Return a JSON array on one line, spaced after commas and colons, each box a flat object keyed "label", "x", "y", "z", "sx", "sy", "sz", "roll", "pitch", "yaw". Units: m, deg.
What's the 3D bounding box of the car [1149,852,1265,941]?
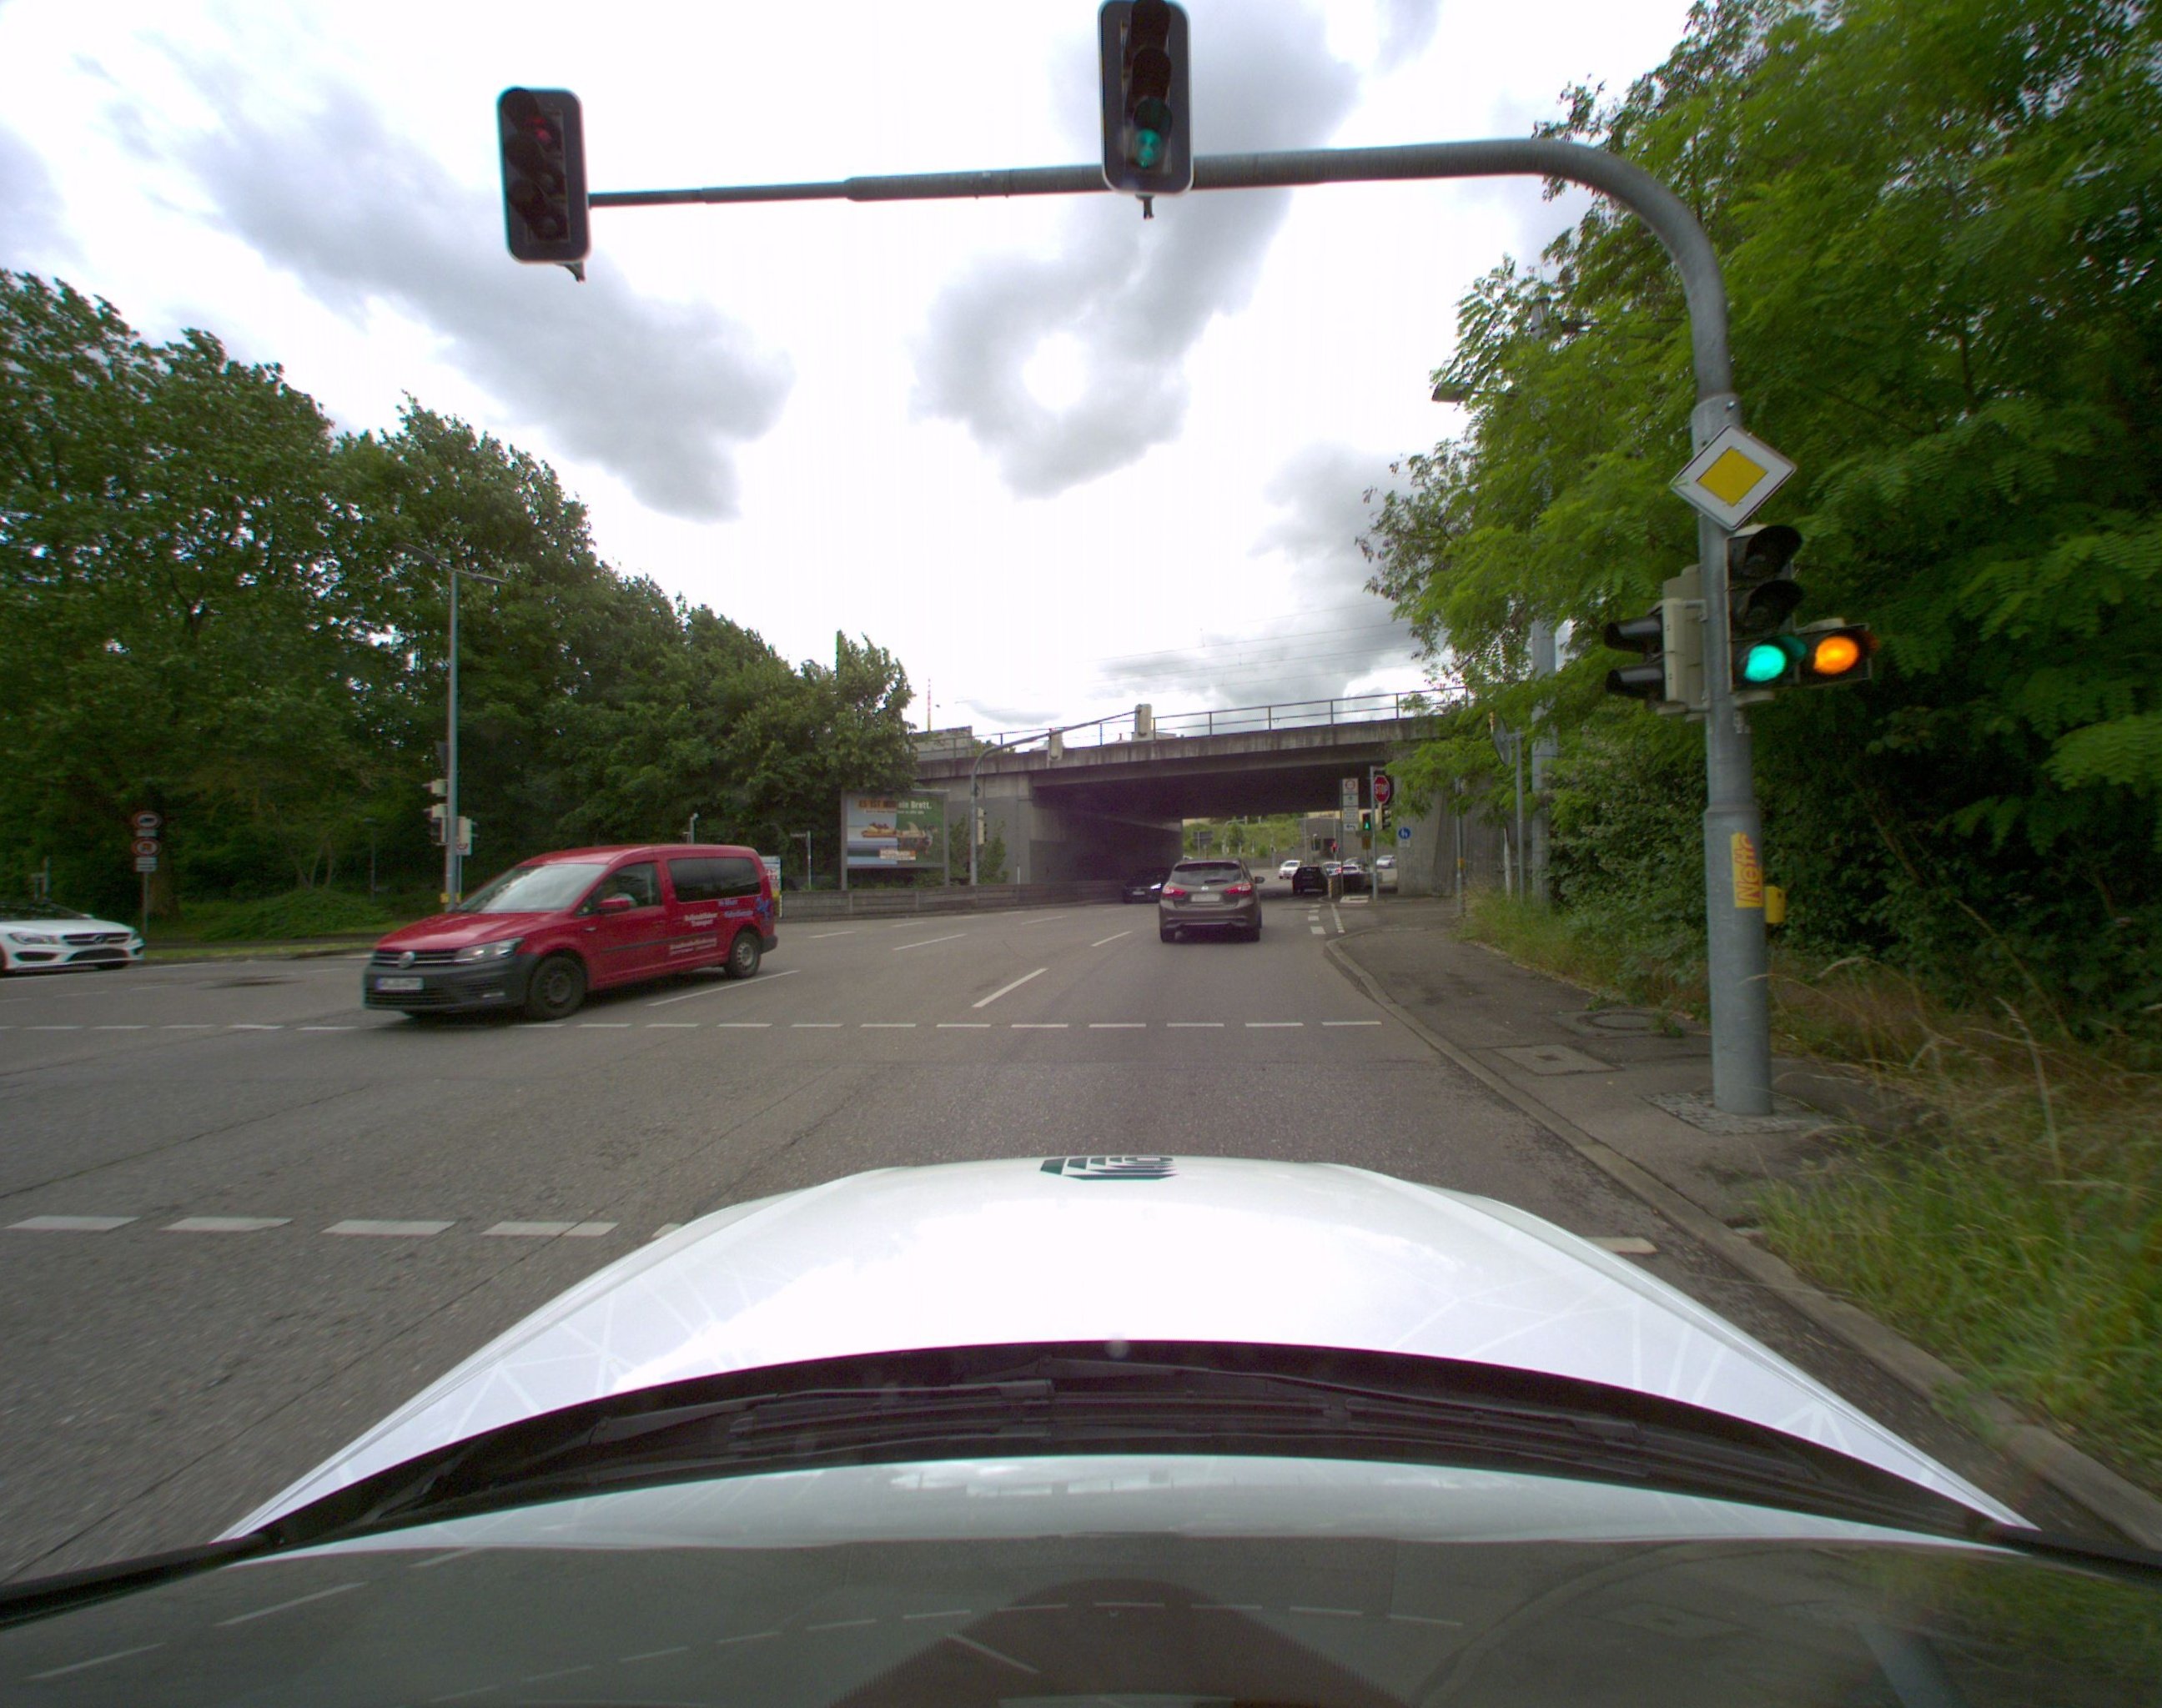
[{"label": "car", "x": 2.569, "y": 0.765, "z": 15.818, "sx": 1.831, "sy": 1.493, "sz": 4.015, "roll": -1, "pitch": -1, "yaw": 14}]

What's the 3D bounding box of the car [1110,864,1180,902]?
[{"label": "car", "x": 2.723, "y": 1.160, "z": 33.765, "sx": 1.801, "sy": 1.477, "sz": 4.157, "roll": -1, "pitch": -1, "yaw": 20}]

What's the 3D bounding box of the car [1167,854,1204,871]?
[{"label": "car", "x": 12.444, "y": 1.015, "z": 96.895, "sx": 3.953, "sy": 1.948, "sz": 2.010, "roll": -1, "pitch": -1, "yaw": 20}]

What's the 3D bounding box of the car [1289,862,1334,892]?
[{"label": "car", "x": 12.410, "y": 1.192, "z": 43.692, "sx": 1.883, "sy": 1.466, "sz": 4.021, "roll": -2, "pitch": -1, "yaw": 22}]

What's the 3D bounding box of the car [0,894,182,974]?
[{"label": "car", "x": -19.818, "y": 1.464, "z": 15.041, "sx": 4.384, "sy": 1.339, "sz": 2.002, "roll": -1, "pitch": -3, "yaw": 5}]

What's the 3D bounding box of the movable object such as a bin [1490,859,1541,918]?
[{"label": "movable object such as a bin", "x": 8.439, "y": 0.655, "z": 15.823, "sx": 0.576, "sy": 1.115, "sz": 0.639, "roll": -1, "pitch": -1, "yaw": -26}]

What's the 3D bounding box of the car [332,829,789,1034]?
[{"label": "car", "x": -5.648, "y": 0.708, "z": 9.757, "sx": 1.676, "sy": 1.825, "sz": 4.743, "roll": -1, "pitch": 0, "yaw": 13}]

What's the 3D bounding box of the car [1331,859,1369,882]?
[{"label": "car", "x": 19.721, "y": 1.201, "z": 59.706, "sx": 1.975, "sy": 1.618, "sz": 4.024, "roll": -2, "pitch": -1, "yaw": 28}]

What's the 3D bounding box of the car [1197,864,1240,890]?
[{"label": "car", "x": 8.117, "y": 1.333, "z": 47.794, "sx": 1.708, "sy": 1.410, "sz": 4.020, "roll": -2, "pitch": -2, "yaw": 21}]

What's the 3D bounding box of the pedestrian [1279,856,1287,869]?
[{"label": "pedestrian", "x": 25.479, "y": 1.125, "z": 102.808, "sx": 0.946, "sy": 1.613, "sz": 0.702, "roll": -1, "pitch": -1, "yaw": 13}]

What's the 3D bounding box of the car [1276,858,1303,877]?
[{"label": "car", "x": 18.968, "y": 1.209, "z": 73.955, "sx": 1.767, "sy": 1.660, "sz": 4.131, "roll": -1, "pitch": -1, "yaw": 23}]

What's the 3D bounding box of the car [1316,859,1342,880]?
[{"label": "car", "x": 20.557, "y": 1.233, "z": 67.367, "sx": 1.814, "sy": 1.706, "sz": 3.888, "roll": 0, "pitch": 0, "yaw": 20}]

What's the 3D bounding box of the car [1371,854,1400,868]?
[{"label": "car", "x": 37.140, "y": 0.877, "z": 99.312, "sx": 1.974, "sy": 1.640, "sz": 4.025, "roll": -2, "pitch": -1, "yaw": 41}]
